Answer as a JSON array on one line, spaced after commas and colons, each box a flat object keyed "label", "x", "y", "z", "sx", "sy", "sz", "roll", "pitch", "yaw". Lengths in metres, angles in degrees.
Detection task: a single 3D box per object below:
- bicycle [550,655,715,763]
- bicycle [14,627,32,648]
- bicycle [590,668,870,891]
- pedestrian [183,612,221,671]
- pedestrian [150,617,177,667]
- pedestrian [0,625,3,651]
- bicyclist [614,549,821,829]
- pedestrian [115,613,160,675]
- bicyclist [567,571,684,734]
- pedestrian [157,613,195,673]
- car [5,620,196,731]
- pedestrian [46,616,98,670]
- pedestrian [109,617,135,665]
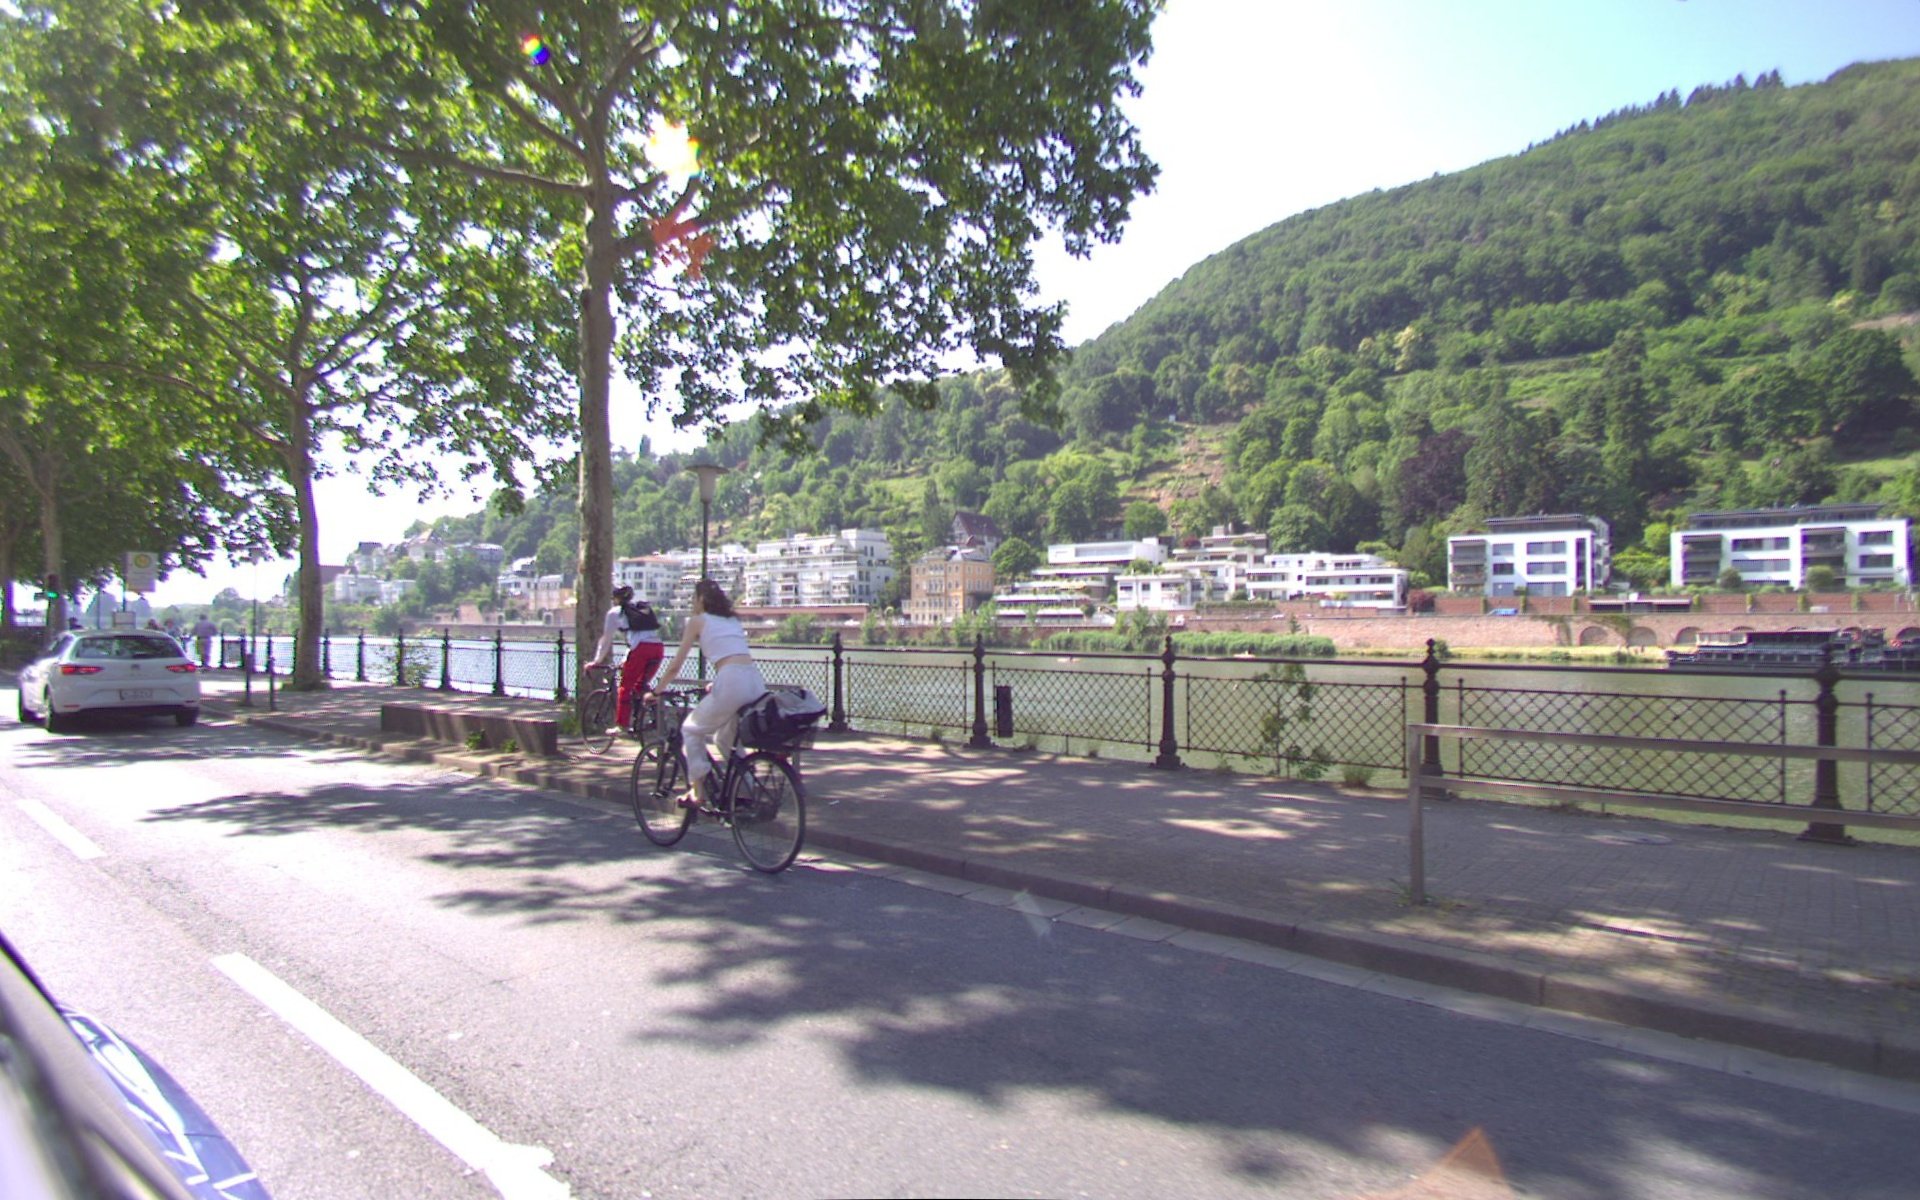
[{"label": "bicycle", "x": -3.419, "y": 1.079, "z": 10.479, "sx": 1.952, "sy": 0.986, "sz": 0.746, "roll": -2, "pitch": -3, "yaw": 42}, {"label": "bicycle", "x": -54.915, "y": 2.186, "z": 59.310, "sx": 1.843, "sy": 1.161, "sz": 0.557, "roll": -1, "pitch": 0, "yaw": 40}, {"label": "bicycle", "x": -1.469, "y": 0.991, "z": 6.200, "sx": 1.954, "sy": 1.085, "sz": 0.732, "roll": -3, "pitch": -2, "yaw": 45}, {"label": "pedestrian", "x": -23.071, "y": 1.254, "z": 30.807, "sx": 0.971, "sy": 1.777, "sz": 0.704, "roll": -1, "pitch": -2, "yaw": 40}, {"label": "pedestrian", "x": -27.887, "y": 1.451, "z": 35.431, "sx": 0.695, "sy": 1.713, "sz": 0.612, "roll": -1, "pitch": -1, "yaw": 40}, {"label": "pedestrian", "x": -62.266, "y": 2.438, "z": 65.195, "sx": 0.709, "sy": 1.696, "sz": 0.783, "roll": -1, "pitch": -3, "yaw": 40}, {"label": "bicyclist", "x": -1.495, "y": 0.515, "z": 6.209, "sx": 1.025, "sy": 1.543, "sz": 0.758, "roll": -4, "pitch": -3, "yaw": 42}, {"label": "pedestrian", "x": -23.351, "y": 1.230, "z": 28.729, "sx": 0.782, "sy": 1.726, "sz": 0.827, "roll": -1, "pitch": -2, "yaw": 40}, {"label": "bicyclist", "x": -3.506, "y": 0.531, "z": 10.588, "sx": 1.089, "sy": 1.595, "sz": 0.711, "roll": -1, "pitch": -2, "yaw": 43}, {"label": "pedestrian", "x": -22.828, "y": 1.244, "z": 29.469, "sx": 0.792, "sy": 1.727, "sz": 0.646, "roll": -1, "pitch": -4, "yaw": 39}, {"label": "car", "x": -13.222, "y": 1.099, "z": 15.485, "sx": 4.089, "sy": 1.456, "sz": 1.683, "roll": -3, "pitch": -2, "yaw": 42}, {"label": "pedestrian", "x": -29.568, "y": 1.421, "z": 33.700, "sx": 1.008, "sy": 1.786, "sz": 0.770, "roll": 1, "pitch": -2, "yaw": -9}, {"label": "pedestrian", "x": -28.893, "y": 1.401, "z": 34.900, "sx": 0.991, "sy": 1.630, "sz": 0.488, "roll": -1, "pitch": -2, "yaw": 40}]
